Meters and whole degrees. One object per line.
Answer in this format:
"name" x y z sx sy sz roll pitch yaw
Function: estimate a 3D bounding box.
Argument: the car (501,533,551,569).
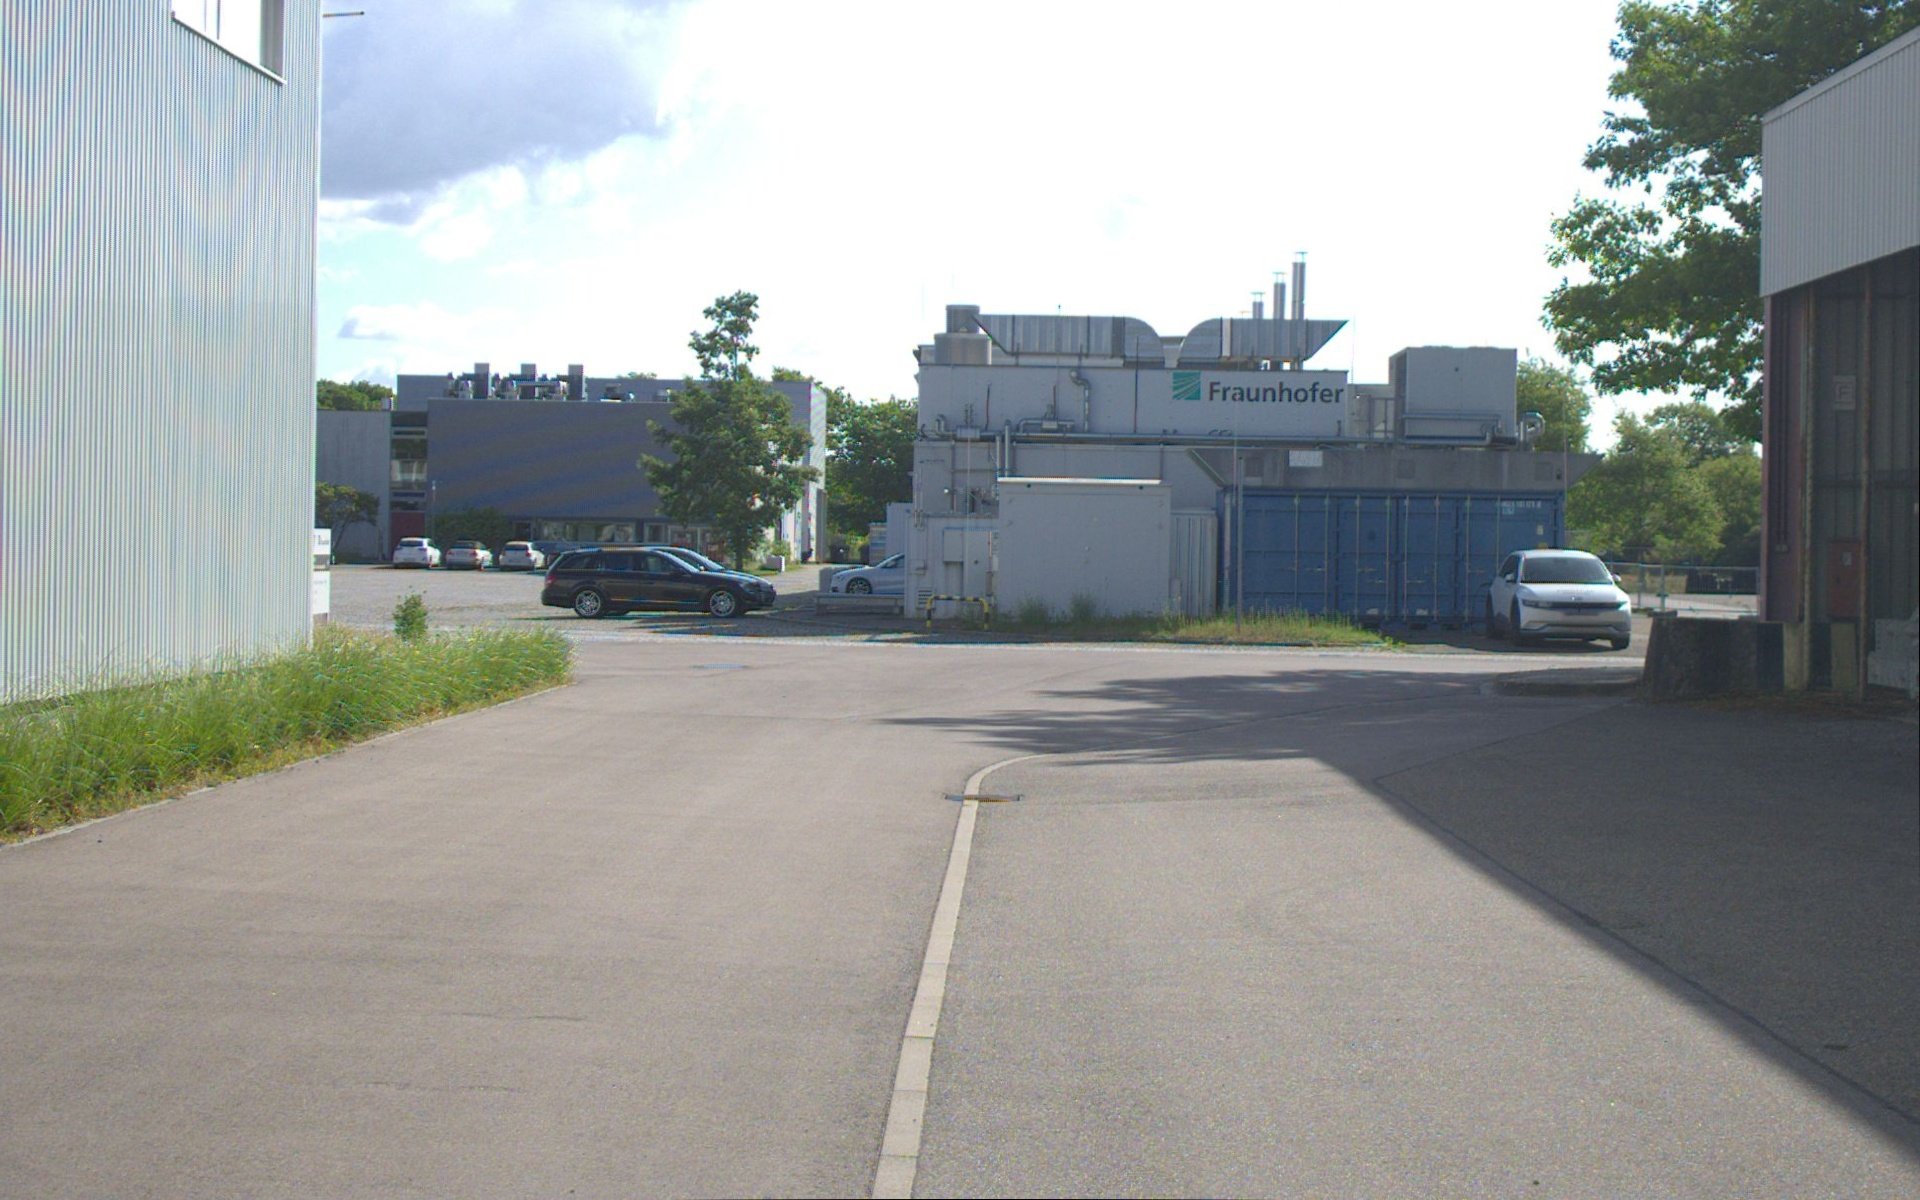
"car" -21.299 -2.403 168.895 1.965 1.706 4.030 0 0 -1

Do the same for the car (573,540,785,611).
"car" -6.090 -0.530 74.950 4.447 1.526 1.824 0 0 1

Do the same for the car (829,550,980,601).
"car" -1.572 -0.709 99.088 4.303 1.452 1.824 0 0 1

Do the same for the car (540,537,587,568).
"car" -19.260 -2.297 167.007 1.858 1.489 4.030 0 0 -1

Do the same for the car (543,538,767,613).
"car" -6.295 -0.505 71.308 4.447 1.526 1.824 0 0 1

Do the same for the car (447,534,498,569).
"car" -23.900 -2.366 168.535 1.977 1.672 4.000 0 0 -1

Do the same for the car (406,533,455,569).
"car" -26.018 -2.400 168.977 1.798 1.706 4.048 0 0 -1

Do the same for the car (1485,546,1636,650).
"car" 10.154 -0.064 58.418 1.980 1.597 4.377 0 2 3
